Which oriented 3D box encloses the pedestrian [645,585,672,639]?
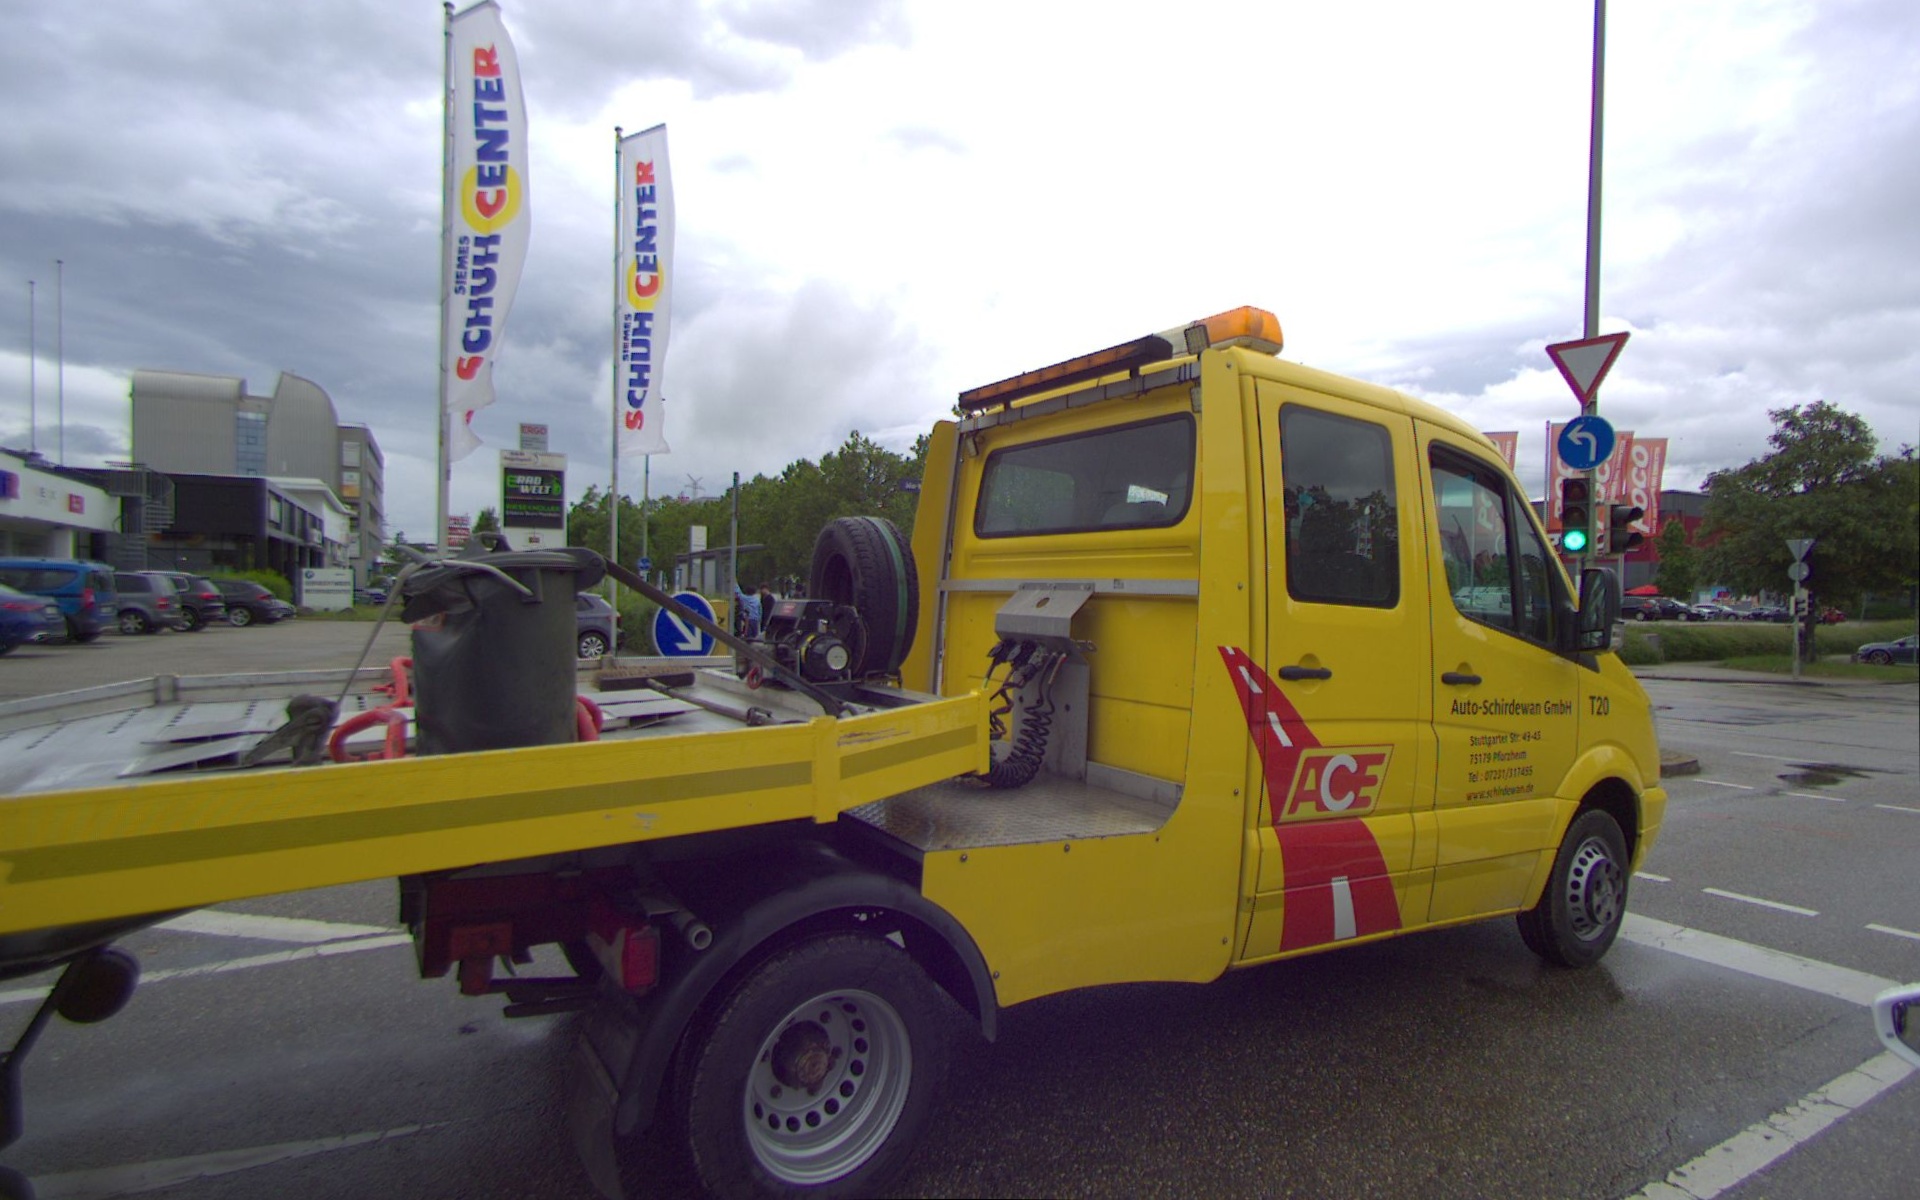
[{"bbox_3d":[-9.849,0.398,32.820,0.692,1.733,0.693,2,-1,-26],"label":"pedestrian"}]

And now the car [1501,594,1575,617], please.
[{"bbox_3d":[37.365,0.334,65.002,1.652,1.399,3.881,2,-1,-28],"label":"car"}]

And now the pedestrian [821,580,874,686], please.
[{"bbox_3d":[-2.234,0.650,20.062,0.683,2.040,0.816,2,-1,20],"label":"pedestrian"}]

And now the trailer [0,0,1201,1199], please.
[{"bbox_3d":[-3.330,0.094,1.476,7.884,2.506,2.291,3,-2,-32],"label":"trailer"}]

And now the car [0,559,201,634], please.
[{"bbox_3d":[-22.611,-0.073,26.066,4.319,1.787,1.884,2,-1,-27],"label":"car"}]

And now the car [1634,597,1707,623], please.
[{"bbox_3d":[48.881,0.676,69.175,1.652,1.667,3.799,2,-1,-28],"label":"car"}]

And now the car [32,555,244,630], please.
[{"bbox_3d":[-23.280,-0.175,28.686,4.319,1.931,1.884,2,-1,-27],"label":"car"}]

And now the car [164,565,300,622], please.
[{"bbox_3d":[-28.404,-0.211,39.344,3.944,2.040,1.900,2,-1,-24],"label":"car"}]

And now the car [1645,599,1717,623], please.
[{"bbox_3d":[50.923,0.760,71.029,1.652,1.667,3.799,2,-1,-28],"label":"car"}]

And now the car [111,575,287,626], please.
[{"bbox_3d":[-25.101,0.037,33.330,4.319,1.518,1.884,2,-1,-27],"label":"car"}]

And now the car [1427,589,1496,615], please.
[{"bbox_3d":[33.236,0.123,66.663,1.652,1.667,3.799,2,-1,-28],"label":"car"}]

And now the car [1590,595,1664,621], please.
[{"bbox_3d":[44.434,0.508,67.019,1.652,1.667,3.799,2,-1,-28],"label":"car"}]

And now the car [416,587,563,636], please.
[{"bbox_3d":[-14.899,0.393,31.904,4.074,1.412,1.811,2,-1,-27],"label":"car"}]

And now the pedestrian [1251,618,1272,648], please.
[{"bbox_3d":[14.819,1.614,49.362,0.773,1.450,0.635,3,-1,-33],"label":"pedestrian"}]

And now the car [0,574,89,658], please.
[{"bbox_3d":[-17.787,0.220,16.932,4.319,1.412,1.811,2,-1,-27],"label":"car"}]

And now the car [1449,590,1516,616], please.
[{"bbox_3d":[35.565,0.217,68.497,1.612,1.667,3.799,2,-1,-28],"label":"car"}]

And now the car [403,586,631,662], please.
[{"bbox_3d":[-8.979,0.513,20.618,4.069,1.412,1.813,2,-1,-23],"label":"car"}]

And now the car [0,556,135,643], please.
[{"bbox_3d":[-20.622,-0.037,21.397,4.319,1.787,1.884,2,-1,-27],"label":"car"}]

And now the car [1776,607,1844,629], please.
[{"bbox_3d":[67.739,1.401,80.109,1.652,1.667,3.799,2,-1,-28],"label":"car"}]

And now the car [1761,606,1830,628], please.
[{"bbox_3d":[65.395,1.310,78.662,1.652,1.667,3.799,2,-1,-28],"label":"car"}]

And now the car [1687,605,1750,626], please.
[{"bbox_3d":[63.022,1.260,83.519,1.652,1.667,3.799,2,-1,-28],"label":"car"}]

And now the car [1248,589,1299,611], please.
[{"bbox_3d":[25.393,-0.004,81.383,1.652,1.667,3.934,2,-1,-28],"label":"car"}]

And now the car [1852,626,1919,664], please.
[{"bbox_3d":[41.132,1.970,43.379,1.669,1.573,3.624,2,-1,-36],"label":"car"}]

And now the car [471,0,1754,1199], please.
[{"bbox_3d":[0.887,0.231,4.150,4.960,2.506,2.227,3,-2,-32],"label":"car"}]

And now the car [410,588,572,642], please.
[{"bbox_3d":[-13.441,0.438,28.912,4.074,1.412,1.886,2,-1,-27],"label":"car"}]
